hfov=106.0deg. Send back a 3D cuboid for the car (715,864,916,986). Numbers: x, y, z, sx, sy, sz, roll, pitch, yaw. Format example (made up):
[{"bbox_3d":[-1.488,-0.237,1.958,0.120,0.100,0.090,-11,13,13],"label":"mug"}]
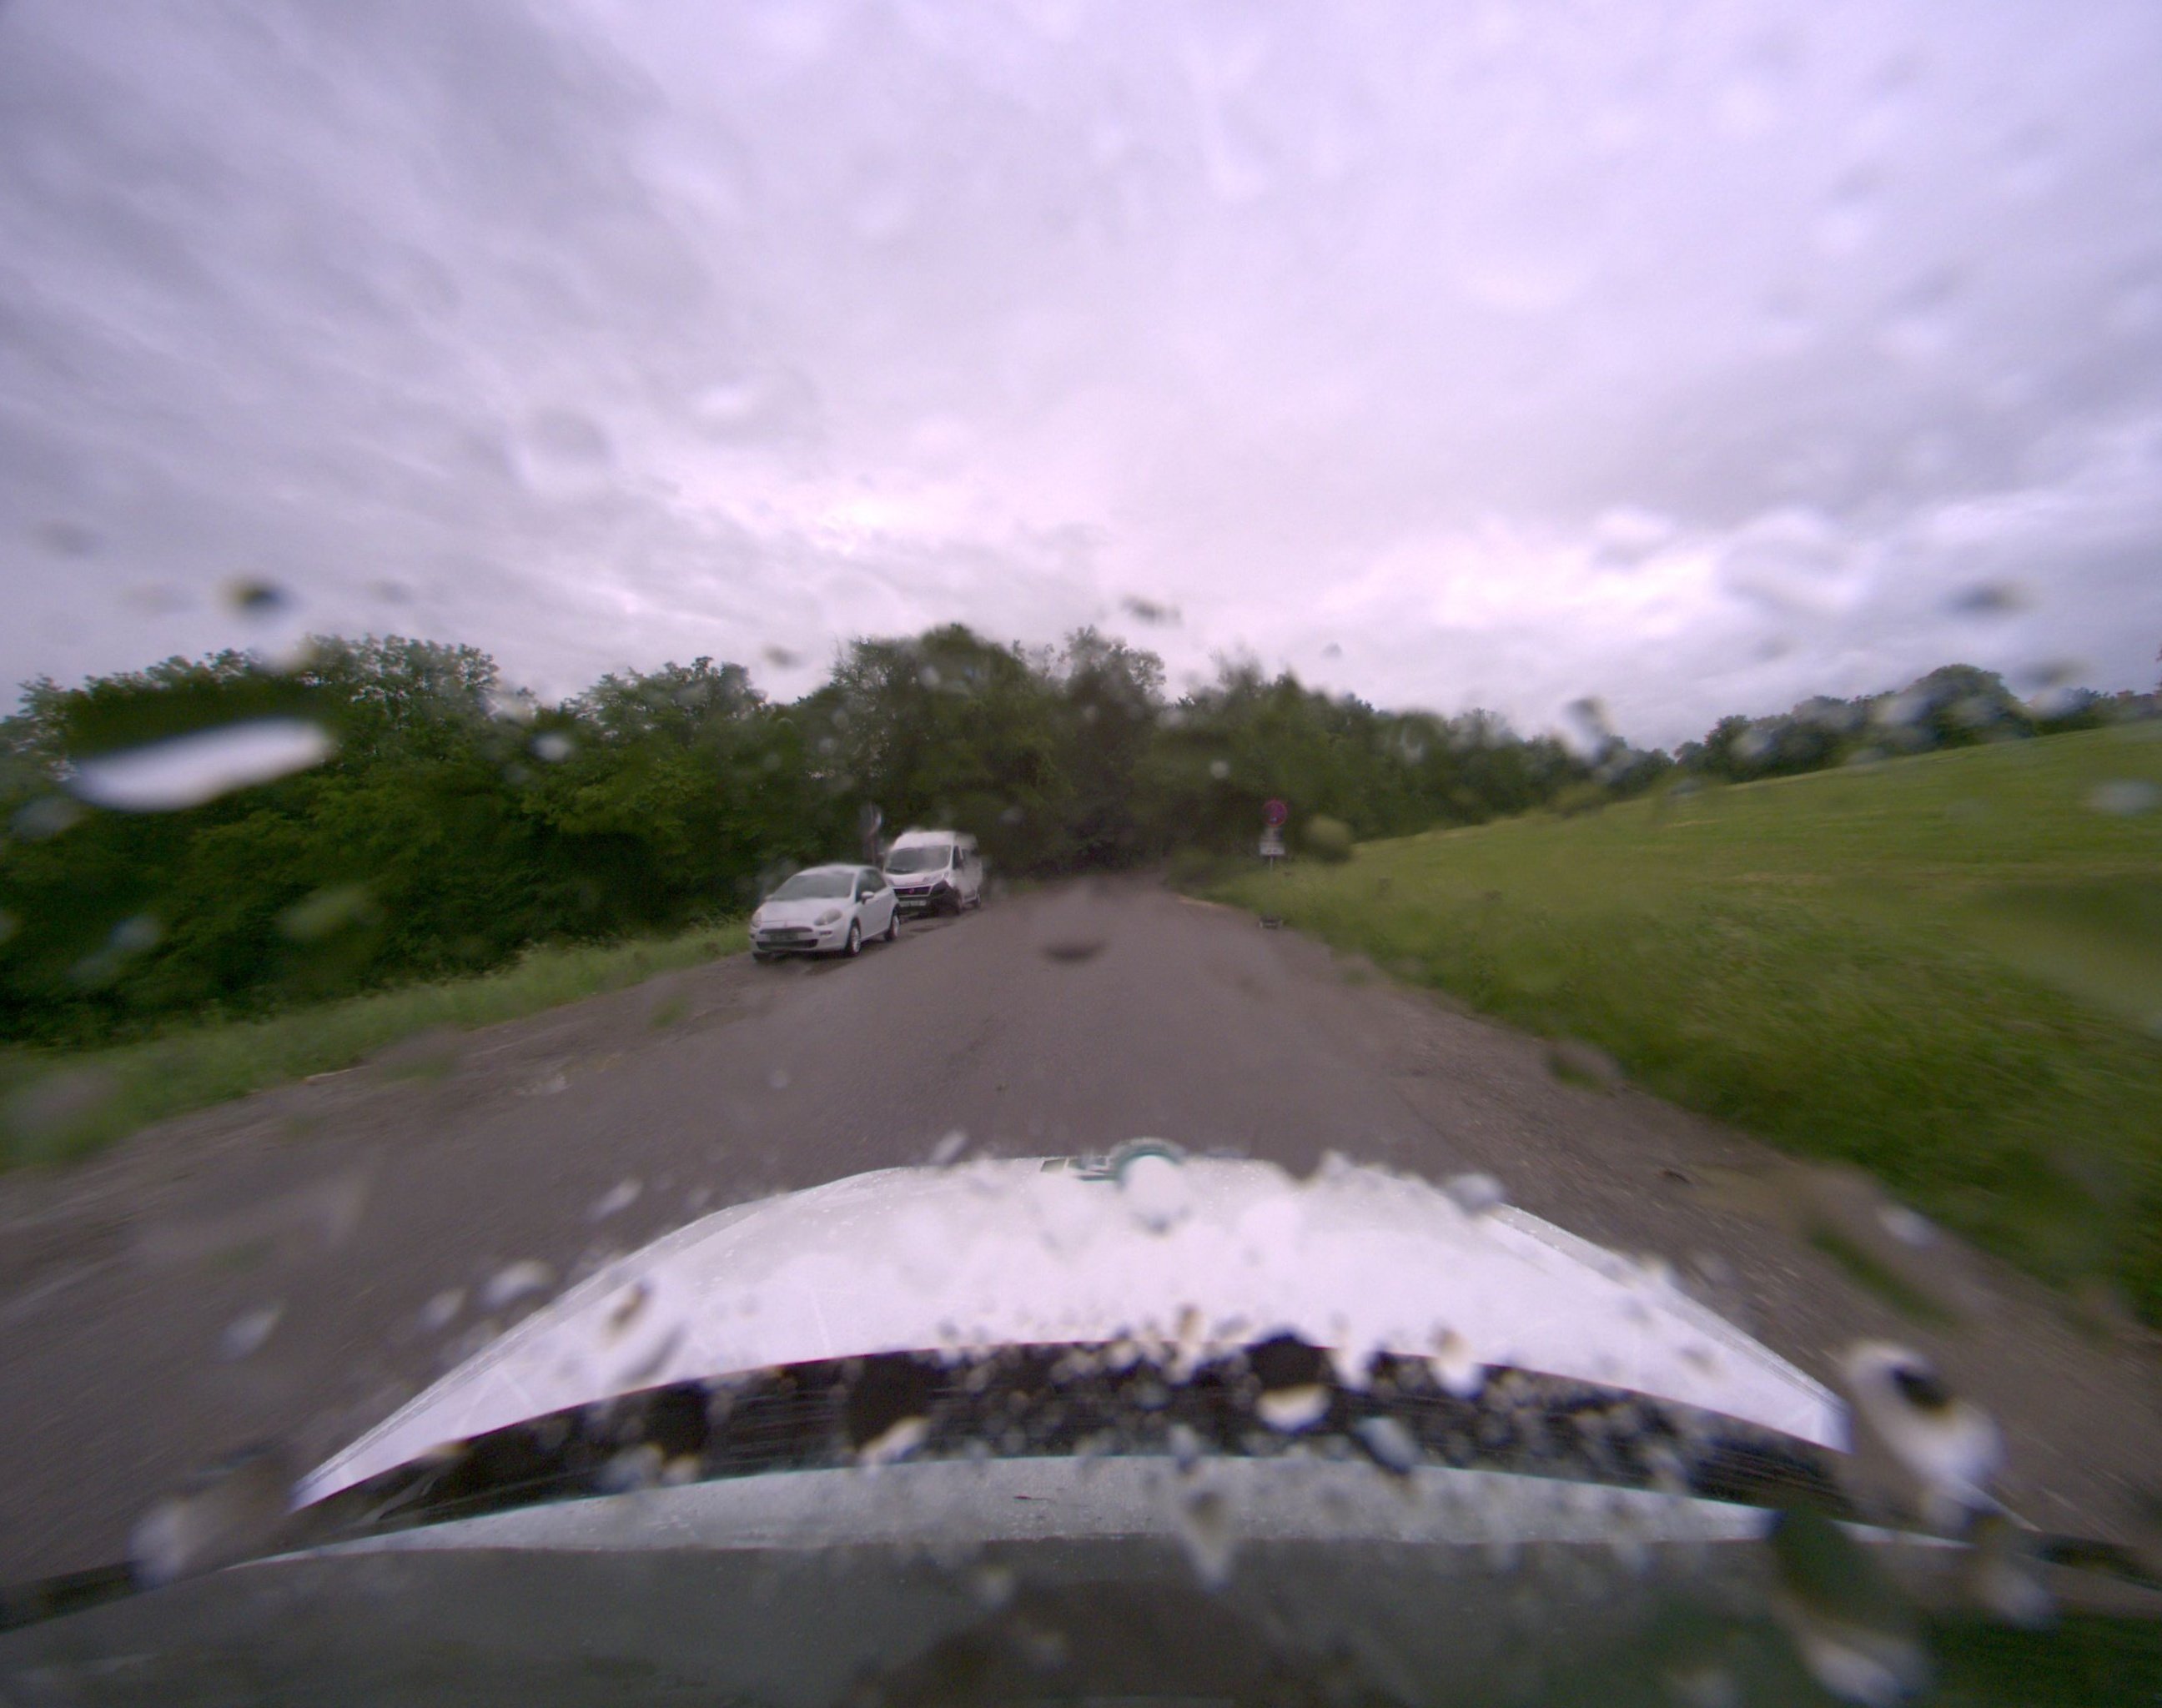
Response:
[{"bbox_3d":[-4.486,1.111,14.602,1.854,1.595,4.498,-4,1,2],"label":"car"}]

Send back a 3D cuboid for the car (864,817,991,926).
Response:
[{"bbox_3d":[-4.378,0.402,24.532,2.264,2.696,6.052,-5,1,2],"label":"car"}]
